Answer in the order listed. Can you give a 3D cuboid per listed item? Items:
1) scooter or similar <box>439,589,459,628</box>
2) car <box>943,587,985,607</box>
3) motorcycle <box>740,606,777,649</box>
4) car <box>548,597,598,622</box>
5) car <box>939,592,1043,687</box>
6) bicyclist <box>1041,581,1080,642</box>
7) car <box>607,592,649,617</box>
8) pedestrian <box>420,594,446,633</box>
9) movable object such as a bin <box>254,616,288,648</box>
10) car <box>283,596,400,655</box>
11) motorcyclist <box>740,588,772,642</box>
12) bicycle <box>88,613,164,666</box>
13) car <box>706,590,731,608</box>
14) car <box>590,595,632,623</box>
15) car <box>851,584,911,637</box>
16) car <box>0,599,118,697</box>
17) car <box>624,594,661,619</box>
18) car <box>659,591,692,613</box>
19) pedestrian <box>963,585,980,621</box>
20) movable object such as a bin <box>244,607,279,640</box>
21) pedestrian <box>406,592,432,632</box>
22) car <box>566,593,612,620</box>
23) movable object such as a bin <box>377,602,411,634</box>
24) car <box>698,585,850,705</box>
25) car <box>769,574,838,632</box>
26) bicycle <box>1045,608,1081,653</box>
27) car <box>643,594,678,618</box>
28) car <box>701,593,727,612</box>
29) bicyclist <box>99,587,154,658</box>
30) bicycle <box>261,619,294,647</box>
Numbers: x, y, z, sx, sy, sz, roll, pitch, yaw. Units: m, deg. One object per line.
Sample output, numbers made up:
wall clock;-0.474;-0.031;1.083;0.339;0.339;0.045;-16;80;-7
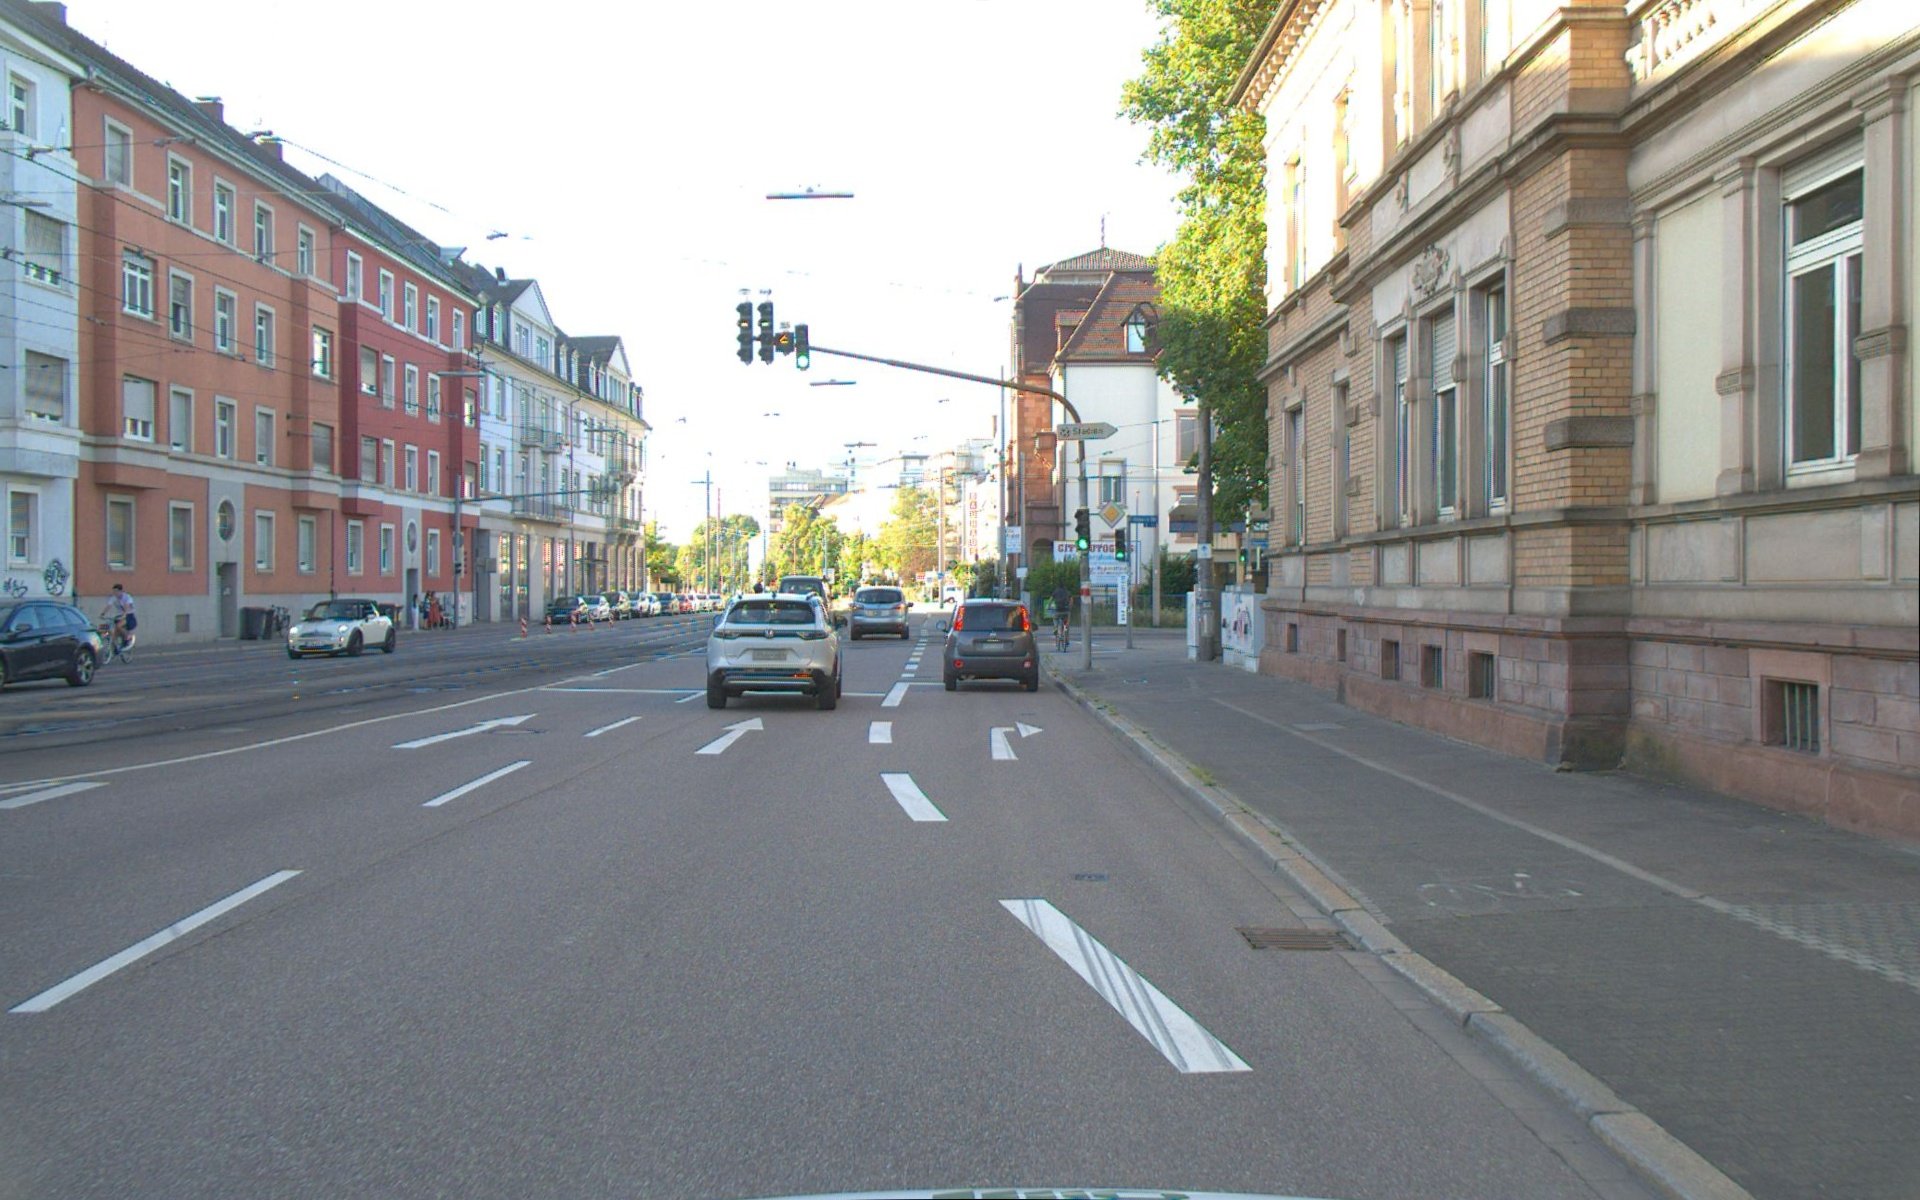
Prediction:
scooter or similar;-22.096;0.356;71.576;0.646;1.662;0.786;0;0;-33
car;0.401;-0.268;172.975;4.180;2.049;1.995;0;0;-10
motorcycle;-5.469;0.726;44.964;0.761;1.101;2.281;0;0;-1
car;-20.268;0.487;86.689;1.684;1.254;4.000;0;0;0
car;0.603;0.637;29.183;1.695;1.527;4.002;0;0;3
bicyclist;2.589;0.282;42.693;0.818;1.552;0.992;0;0;-7
car;-20.827;0.268;103.991;1.798;1.579;4.274;0;0;0
pedestrian;-22.312;0.558;70.011;0.823;1.662;0.784;0;0;-38
movable object such as a bin;-22.705;1.049;54.518;0.826;1.059;0.811;0;0;-5
car;-15.517;0.614;41.649;1.691;1.399;3.533;0;0;-2
motorcyclist;-5.526;0.389;44.903;0.761;1.448;0.891;0;0;-1
bicycle;-19.855;0.925;39.419;0.731;1.211;2.152;0;0;0
car;-21.859;-0.123;150.035;1.684;1.579;4.000;0;0;0
car;-20.510;0.519;97.222;1.684;1.579;3.856;0;0;0
car;-2.462;0.306;52.229;1.777;1.610;3.999;0;0;-1
car;-15.557;0.731;26.491;1.883;1.481;4.497;0;0;-1
car;-20.939;0.422;109.129;1.684;1.579;4.000;0;0;0
car;-20.664;0.140;120.167;1.684;1.579;4.000;0;0;0
pedestrian;0.582;0.151;84.628;0.857;1.856;1.184;0;0;1
movable object such as a bin;-22.650;0.749;53.621;0.826;1.059;0.811;0;0;-5
pedestrian;-22.465;0.497;68.654;0.776;1.662;0.655;0;0;18
car;-20.670;0.359;92.267;1.684;1.477;4.000;0;0;0
movable object such as a bin;-22.923;0.726;66.969;0.852;1.271;1.234;0;0;6
car;-2.573;0.573;23.724;1.909;1.555;4.087;0;0;-3
car;-5.713;0.080;60.921;2.128;2.044;4.807;0;0;-1
bicycle;2.640;0.771;42.465;0.755;1.105;1.870;0;0;-2
car;-20.680;0.402;114.208;1.684;1.579;4.000;0;0;0
car;-21.414;0.187;144.028;1.684;1.579;4.000;0;0;0
bicyclist;-19.865;0.518;39.438;0.731;1.671;1.126;0;0;0
bicycle;-23.013;1.096;55.798;0.327;0.906;1.605;0;0;4
